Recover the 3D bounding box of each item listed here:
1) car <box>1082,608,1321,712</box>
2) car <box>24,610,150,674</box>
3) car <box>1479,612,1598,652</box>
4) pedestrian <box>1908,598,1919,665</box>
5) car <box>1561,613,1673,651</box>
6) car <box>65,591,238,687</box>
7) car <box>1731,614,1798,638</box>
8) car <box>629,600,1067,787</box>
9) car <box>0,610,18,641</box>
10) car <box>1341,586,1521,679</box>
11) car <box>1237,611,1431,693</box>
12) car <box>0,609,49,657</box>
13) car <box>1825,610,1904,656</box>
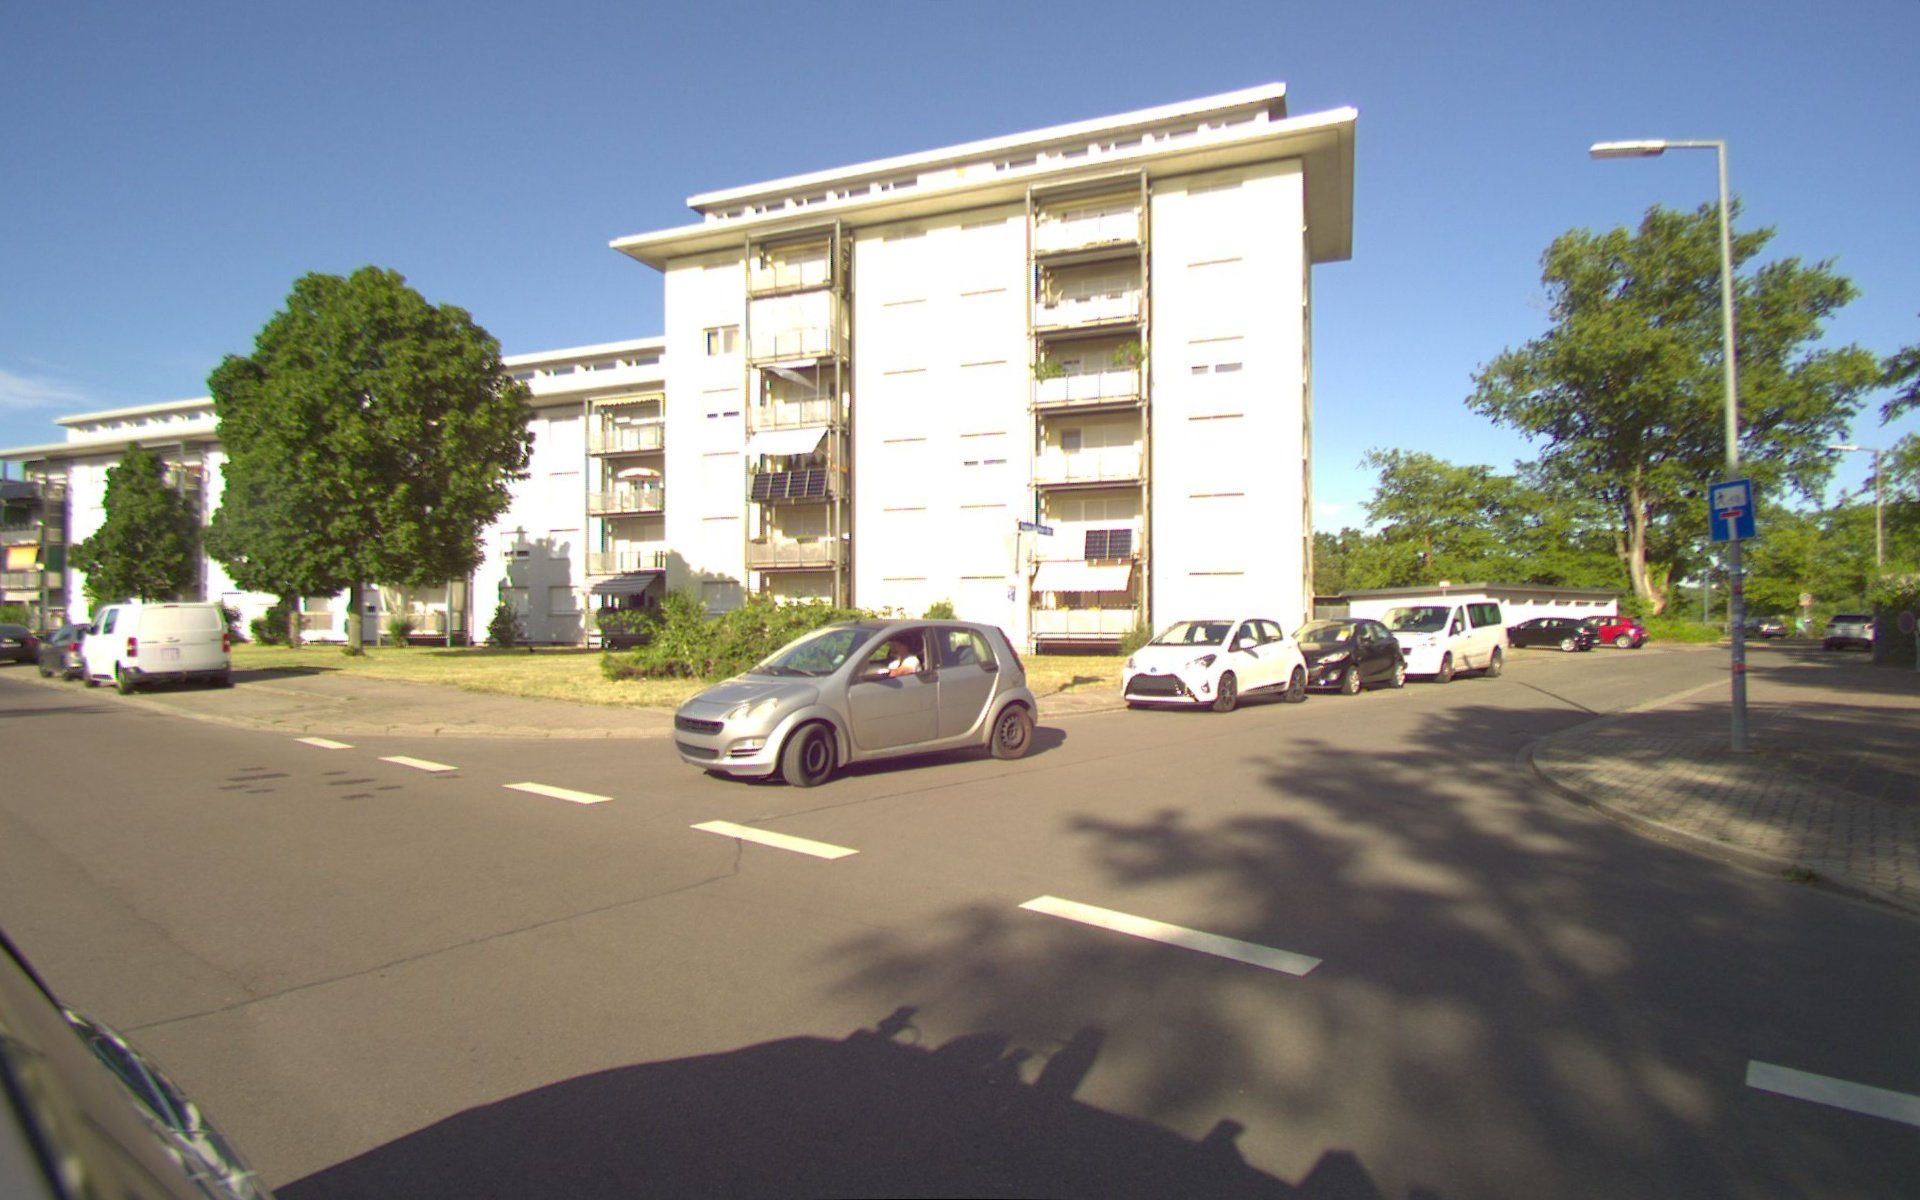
[{"bbox_3d":[4.020,0.912,16.515,2.044,1.475,3.941,-2,-2,45],"label":"car"},{"bbox_3d":[-23.122,1.048,26.761,4.217,1.529,1.815,-1,0,39],"label":"car"},{"bbox_3d":[24.215,1.338,42.395,3.999,1.608,1.972,-2,-2,42],"label":"car"},{"bbox_3d":[24.346,0.790,25.395,0.545,1.666,0.539,0,-1,-1],"label":"pedestrian"},{"bbox_3d":[29.557,1.414,45.585,3.999,1.608,1.972,-1,-2,42],"label":"car"},{"bbox_3d":[-18.137,0.794,22.611,5.186,1.900,1.994,-1,0,40],"label":"car"},{"bbox_3d":[54.186,1.754,68.240,1.981,1.592,4.151,0,-1,15],"label":"car"},{"bbox_3d":[-0.997,0.779,10.018,3.880,1.472,2.001,1,-2,-41],"label":"car"},{"bbox_3d":[-78.042,2.002,79.255,2.206,2.447,5.858,-3,-3,32],"label":"car"},{"bbox_3d":[11.292,0.747,24.084,5.046,1.966,2.239,1,-2,-44],"label":"car"},{"bbox_3d":[7.660,0.992,20.499,4.391,1.472,2.044,2,-2,-45],"label":"car"},{"bbox_3d":[-33.179,1.125,34.696,5.249,1.504,2.015,-1,1,38],"label":"car"},{"bbox_3d":[39.124,1.418,43.771,3.935,1.890,1.857,1,-2,-38],"label":"car"}]
